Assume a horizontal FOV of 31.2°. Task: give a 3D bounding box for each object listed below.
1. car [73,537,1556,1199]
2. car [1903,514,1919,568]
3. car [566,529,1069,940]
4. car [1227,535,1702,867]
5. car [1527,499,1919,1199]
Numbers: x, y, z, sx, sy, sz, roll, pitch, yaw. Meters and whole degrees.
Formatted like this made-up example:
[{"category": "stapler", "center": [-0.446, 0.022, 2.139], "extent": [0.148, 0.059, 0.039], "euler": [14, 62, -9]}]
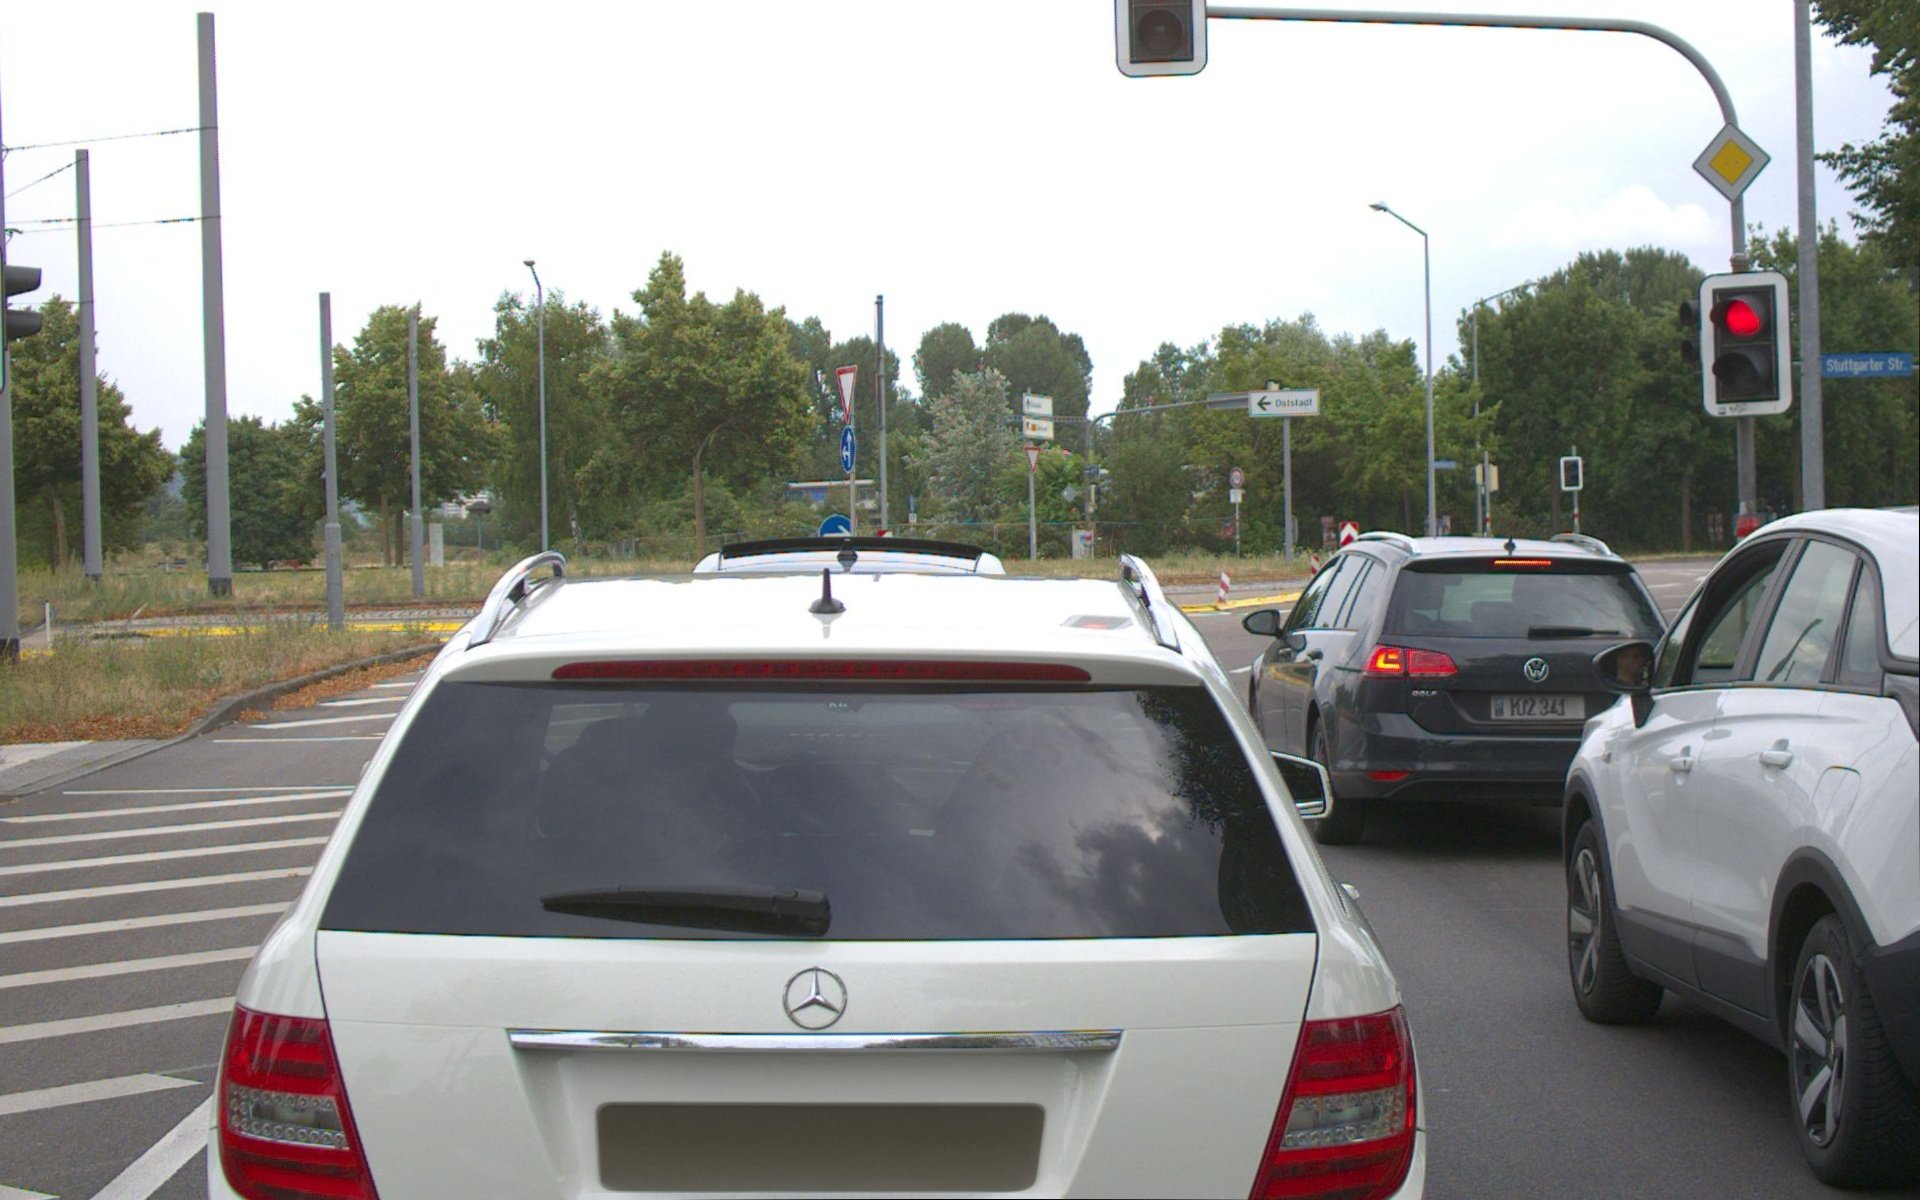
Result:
[{"category": "car", "center": [-0.256, 0.626, 6.086], "extent": [1.773, 1.443, 3.911], "euler": [0, 1, -2]}, {"category": "car", "center": [33.366, -1.957, 116.226], "extent": [1.997, 1.784, 3.994], "euler": [2, 1, 28]}, {"category": "car", "center": [-0.589, 0.440, 14.157], "extent": [1.773, 1.443, 3.911], "euler": [0, 1, -2]}, {"category": "car", "center": [2.383, 0.412, 17.150], "extent": [1.624, 1.443, 3.911], "euler": [0, 1, -2]}, {"category": "car", "center": [2.748, 0.540, 9.116], "extent": [1.787, 1.619, 3.911], "euler": [-1, 1, 0]}]
